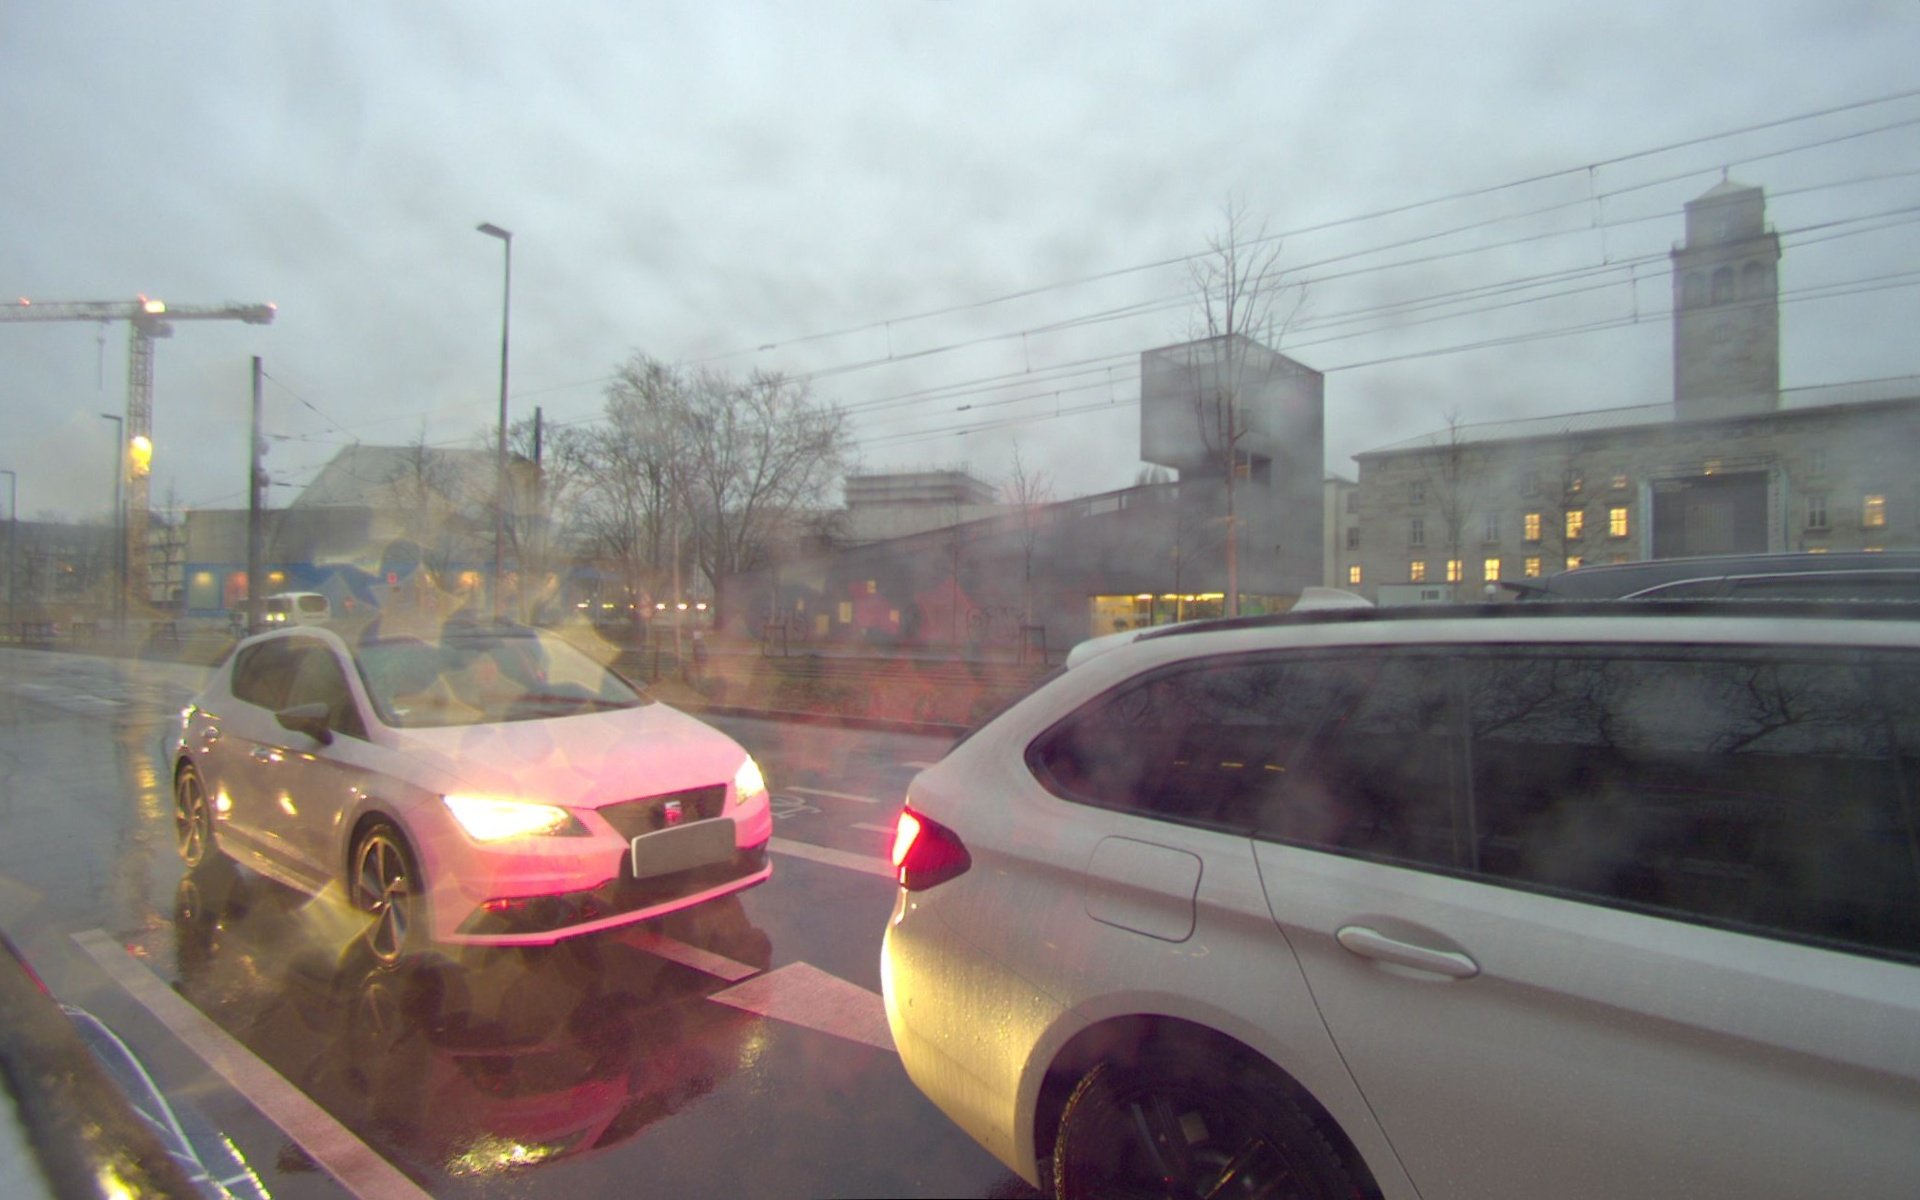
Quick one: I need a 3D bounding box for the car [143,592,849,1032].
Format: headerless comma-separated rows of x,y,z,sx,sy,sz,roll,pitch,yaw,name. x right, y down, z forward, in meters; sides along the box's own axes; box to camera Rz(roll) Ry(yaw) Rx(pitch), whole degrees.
-2.685,0.742,5.405,4.124,1.486,1.757,-1,-1,38,car

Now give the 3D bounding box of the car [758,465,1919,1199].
1.968,0.621,1.733,4.919,1.532,1.890,-1,-2,40,car

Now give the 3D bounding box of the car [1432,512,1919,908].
5.006,0.499,4.993,4.605,1.756,1.686,-1,-2,38,car

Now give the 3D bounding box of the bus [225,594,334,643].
-53.188,1.459,78.897,12.277,3.605,2.783,-1,-2,35,bus
